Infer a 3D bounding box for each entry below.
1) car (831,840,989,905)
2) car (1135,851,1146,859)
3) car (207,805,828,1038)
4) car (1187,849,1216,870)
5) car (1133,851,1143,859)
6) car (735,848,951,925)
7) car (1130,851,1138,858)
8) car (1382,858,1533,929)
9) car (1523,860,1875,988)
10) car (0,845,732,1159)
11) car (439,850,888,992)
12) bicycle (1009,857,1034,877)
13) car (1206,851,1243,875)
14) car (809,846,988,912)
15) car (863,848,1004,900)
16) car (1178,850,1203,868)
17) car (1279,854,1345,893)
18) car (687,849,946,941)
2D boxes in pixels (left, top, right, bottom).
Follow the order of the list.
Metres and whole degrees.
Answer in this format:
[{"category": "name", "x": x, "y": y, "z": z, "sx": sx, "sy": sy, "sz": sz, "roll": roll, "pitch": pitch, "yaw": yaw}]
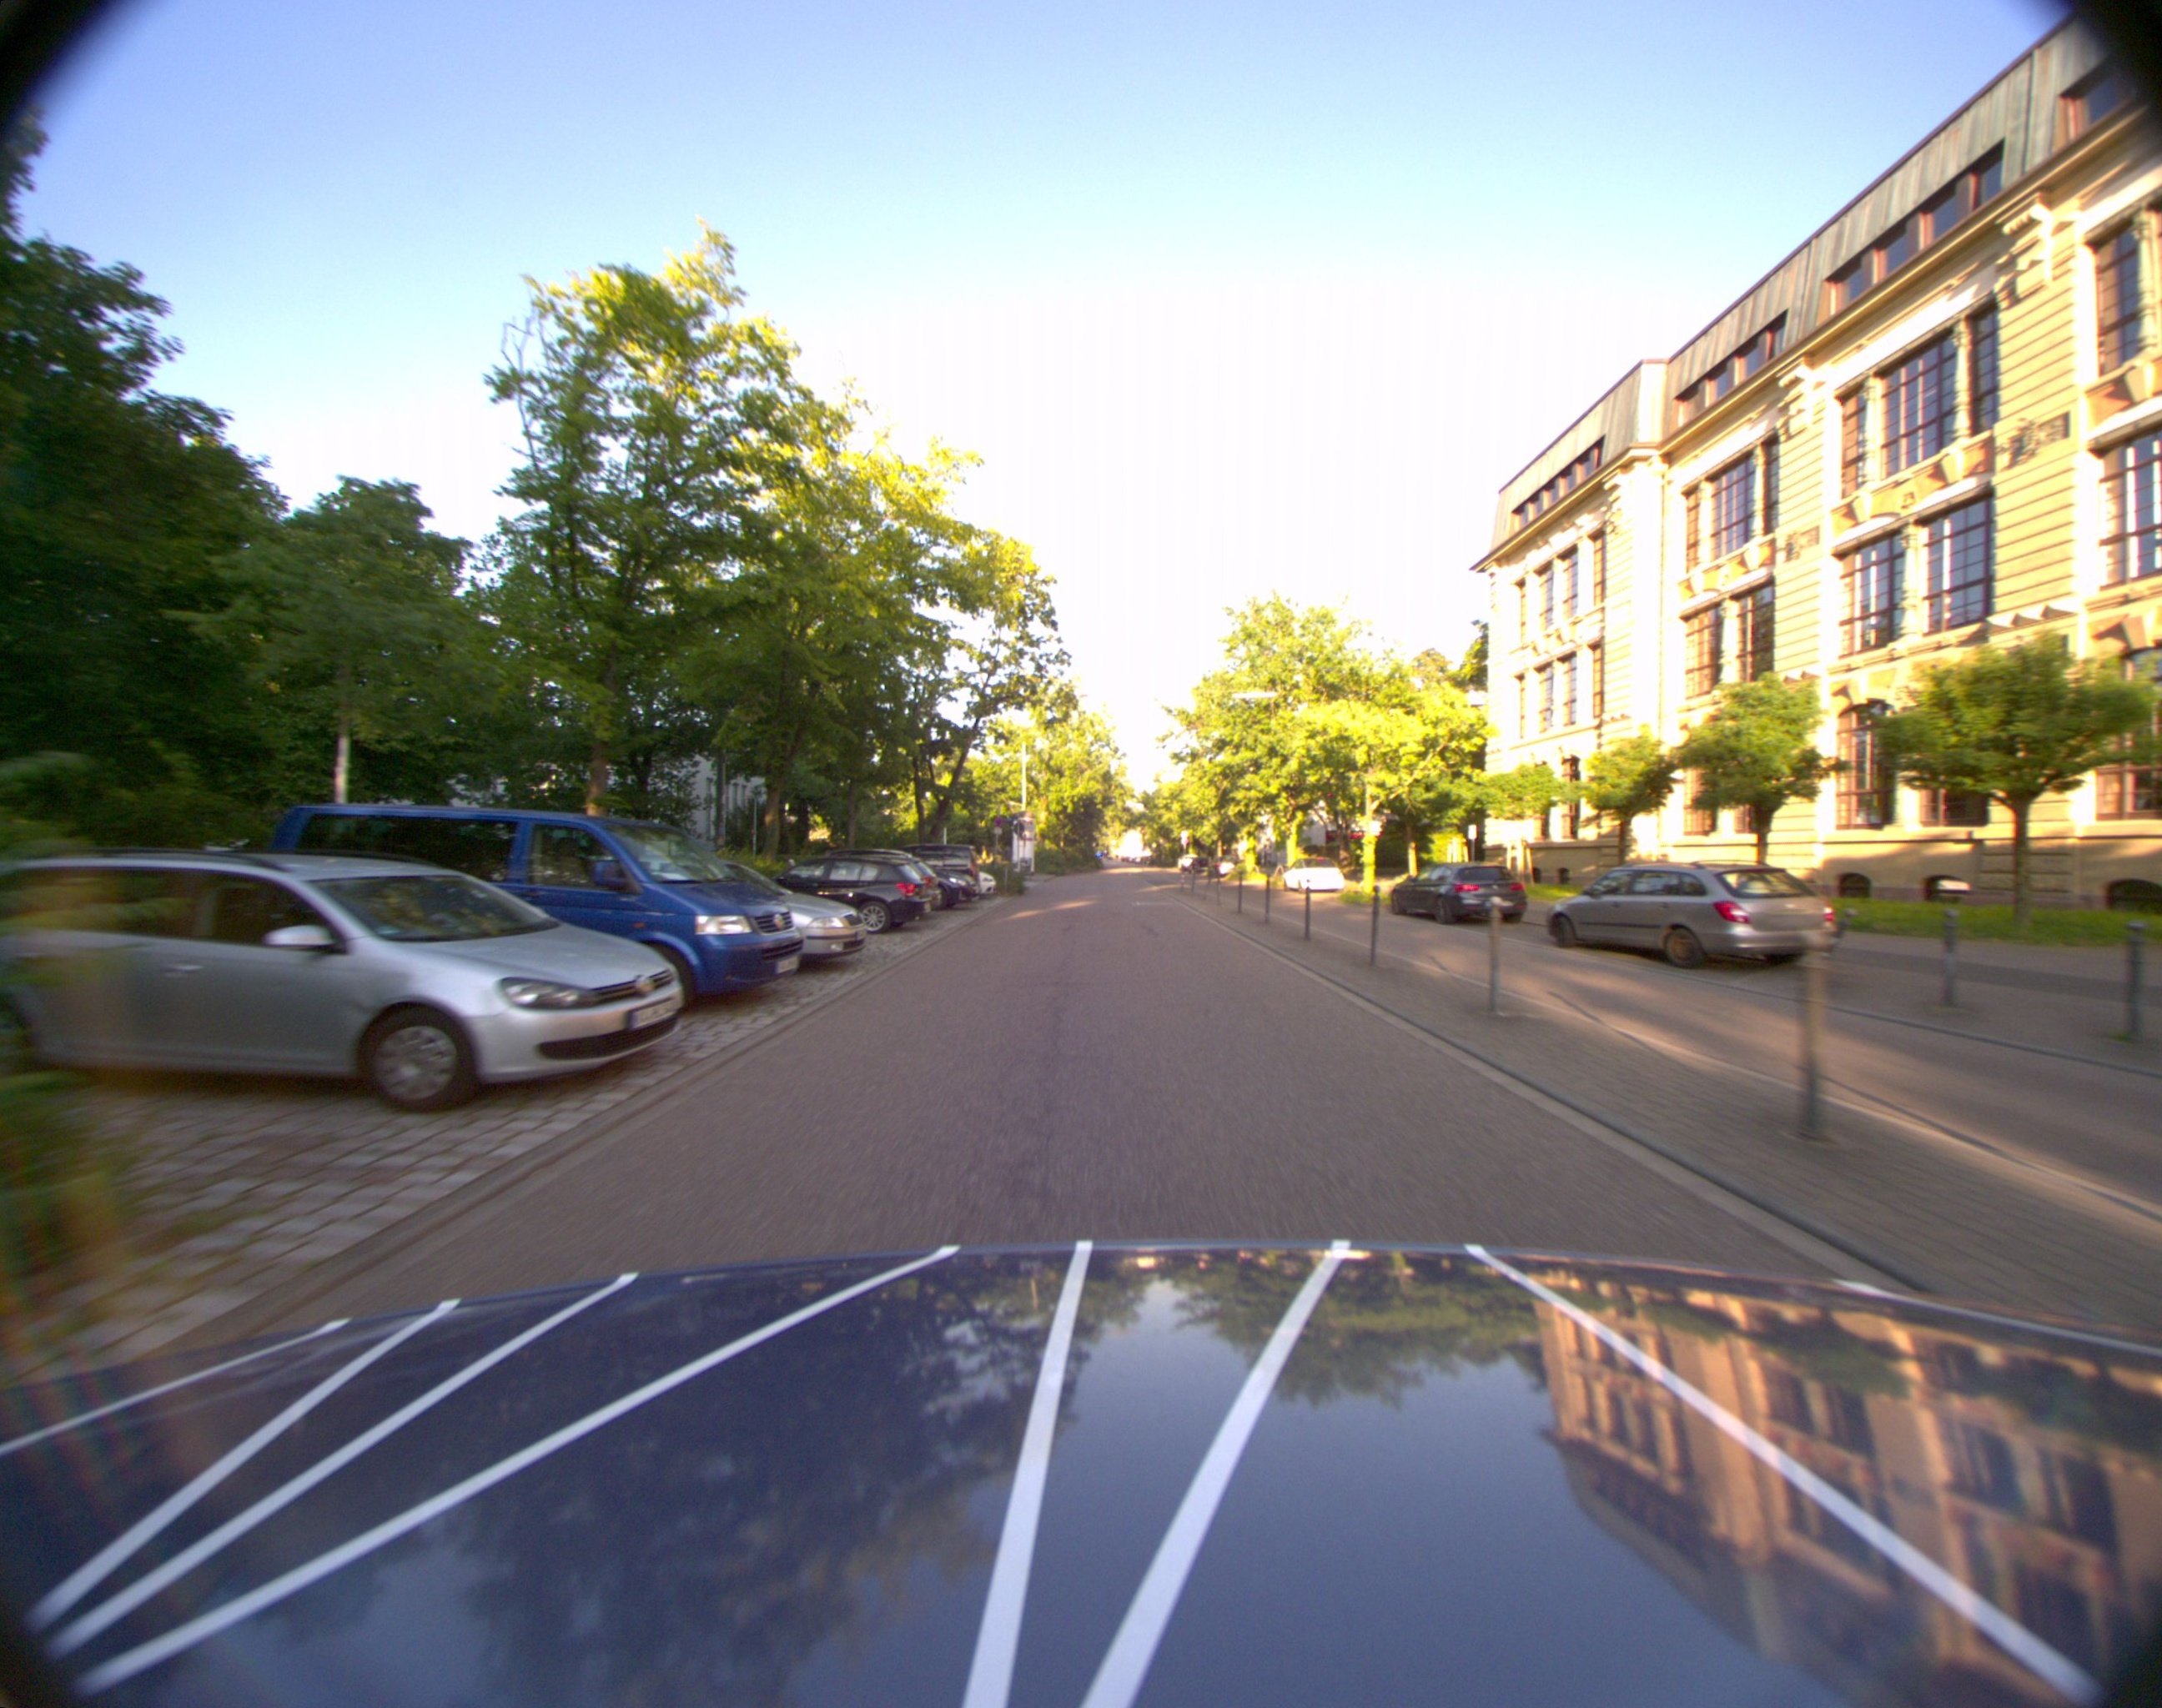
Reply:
[{"category": "car", "x": -5.196, "y": 0.534, "z": 23.544, "sx": 4.374, "sy": 1.770, "sz": 1.920, "roll": 2, "pitch": 1, "yaw": 0}, {"category": "car", "x": 11.637, "y": 0.257, "z": 148.466, "sx": 1.776, "sy": 1.474, "sz": 4.109, "roll": -1, "pitch": 0, "yaw": 1}, {"category": "car", "x": -5.371, "y": 0.599, "z": 7.758, "sx": 4.864, "sy": 1.905, "sz": 1.916, "roll": 2, "pitch": 1, "yaw": 0}, {"category": "car", "x": 9.927, "y": 0.438, "z": 62.953, "sx": 1.784, "sy": 1.607, "sz": 4.147, "roll": -1, "pitch": 1, "yaw": 1}, {"category": "car", "x": 11.675, "y": 0.158, "z": 154.596, "sx": 1.776, "sy": 1.559, "sz": 4.109, "roll": -1, "pitch": 0, "yaw": 1}, {"category": "car", "x": -5.415, "y": 0.703, "z": 17.697, "sx": 4.374, "sy": 1.528, "sz": 1.920, "roll": 2, "pitch": 1, "yaw": 0}, {"category": "car", "x": 12.458, "y": 0.136, "z": 178.248, "sx": 1.776, "sy": 1.559, "sz": 4.109, "roll": -1, "pitch": 0, "yaw": 1}, {"category": "car", "x": 9.128, "y": 0.880, "z": 18.859, "sx": 1.622, "sy": 1.487, "sz": 4.377, "roll": 0, "pitch": 0, "yaw": 1}, {"category": "car", "x": 9.225, "y": 0.913, "z": 11.943, "sx": 1.723, "sy": 1.487, "sz": 4.375, "roll": -3, "pitch": 1, "yaw": -4}, {"category": "car", "x": -5.300, "y": 0.807, "z": 5.137, "sx": 4.939, "sy": 1.545, "sz": 1.916, "roll": 2, "pitch": 1, "yaw": 0}, {"category": "car", "x": -5.347, "y": 0.808, "z": 10.239, "sx": 4.939, "sy": 1.545, "sz": 1.916, "roll": 2, "pitch": 1, "yaw": 0}, {"category": "bicycle", "x": -3.442, "y": 0.763, "z": 44.125, "sx": 0.492, "sy": 1.141, "sz": 2.289, "roll": 4, "pitch": 0, "yaw": 21}, {"category": "car", "x": 9.822, "y": 0.581, "z": 52.281, "sx": 1.806, "sy": 1.502, "sz": 4.862, "roll": -1, "pitch": 1, "yaw": 2}, {"category": "car", "x": -4.854, "y": 0.635, "z": 20.671, "sx": 4.374, "sy": 1.545, "sz": 1.876, "roll": 2, "pitch": 1, "yaw": 0}, {"category": "car", "x": -4.926, "y": 0.645, "z": 25.791, "sx": 4.374, "sy": 1.545, "sz": 1.727, "roll": 2, "pitch": 1, "yaw": 0}, {"category": "car", "x": 10.233, "y": 0.476, "z": 71.091, "sx": 1.808, "sy": 1.607, "sz": 4.147, "roll": 0, "pitch": 1, "yaw": 1}, {"category": "car", "x": 9.543, "y": 0.746, "z": 31.666, "sx": 1.622, "sy": 1.487, "sz": 3.924, "roll": 0, "pitch": 0, "yaw": 1}, {"category": "car", "x": -5.054, "y": 0.751, "z": 14.966, "sx": 4.374, "sy": 1.528, "sz": 1.920, "roll": 2, "pitch": 1, "yaw": 0}]
